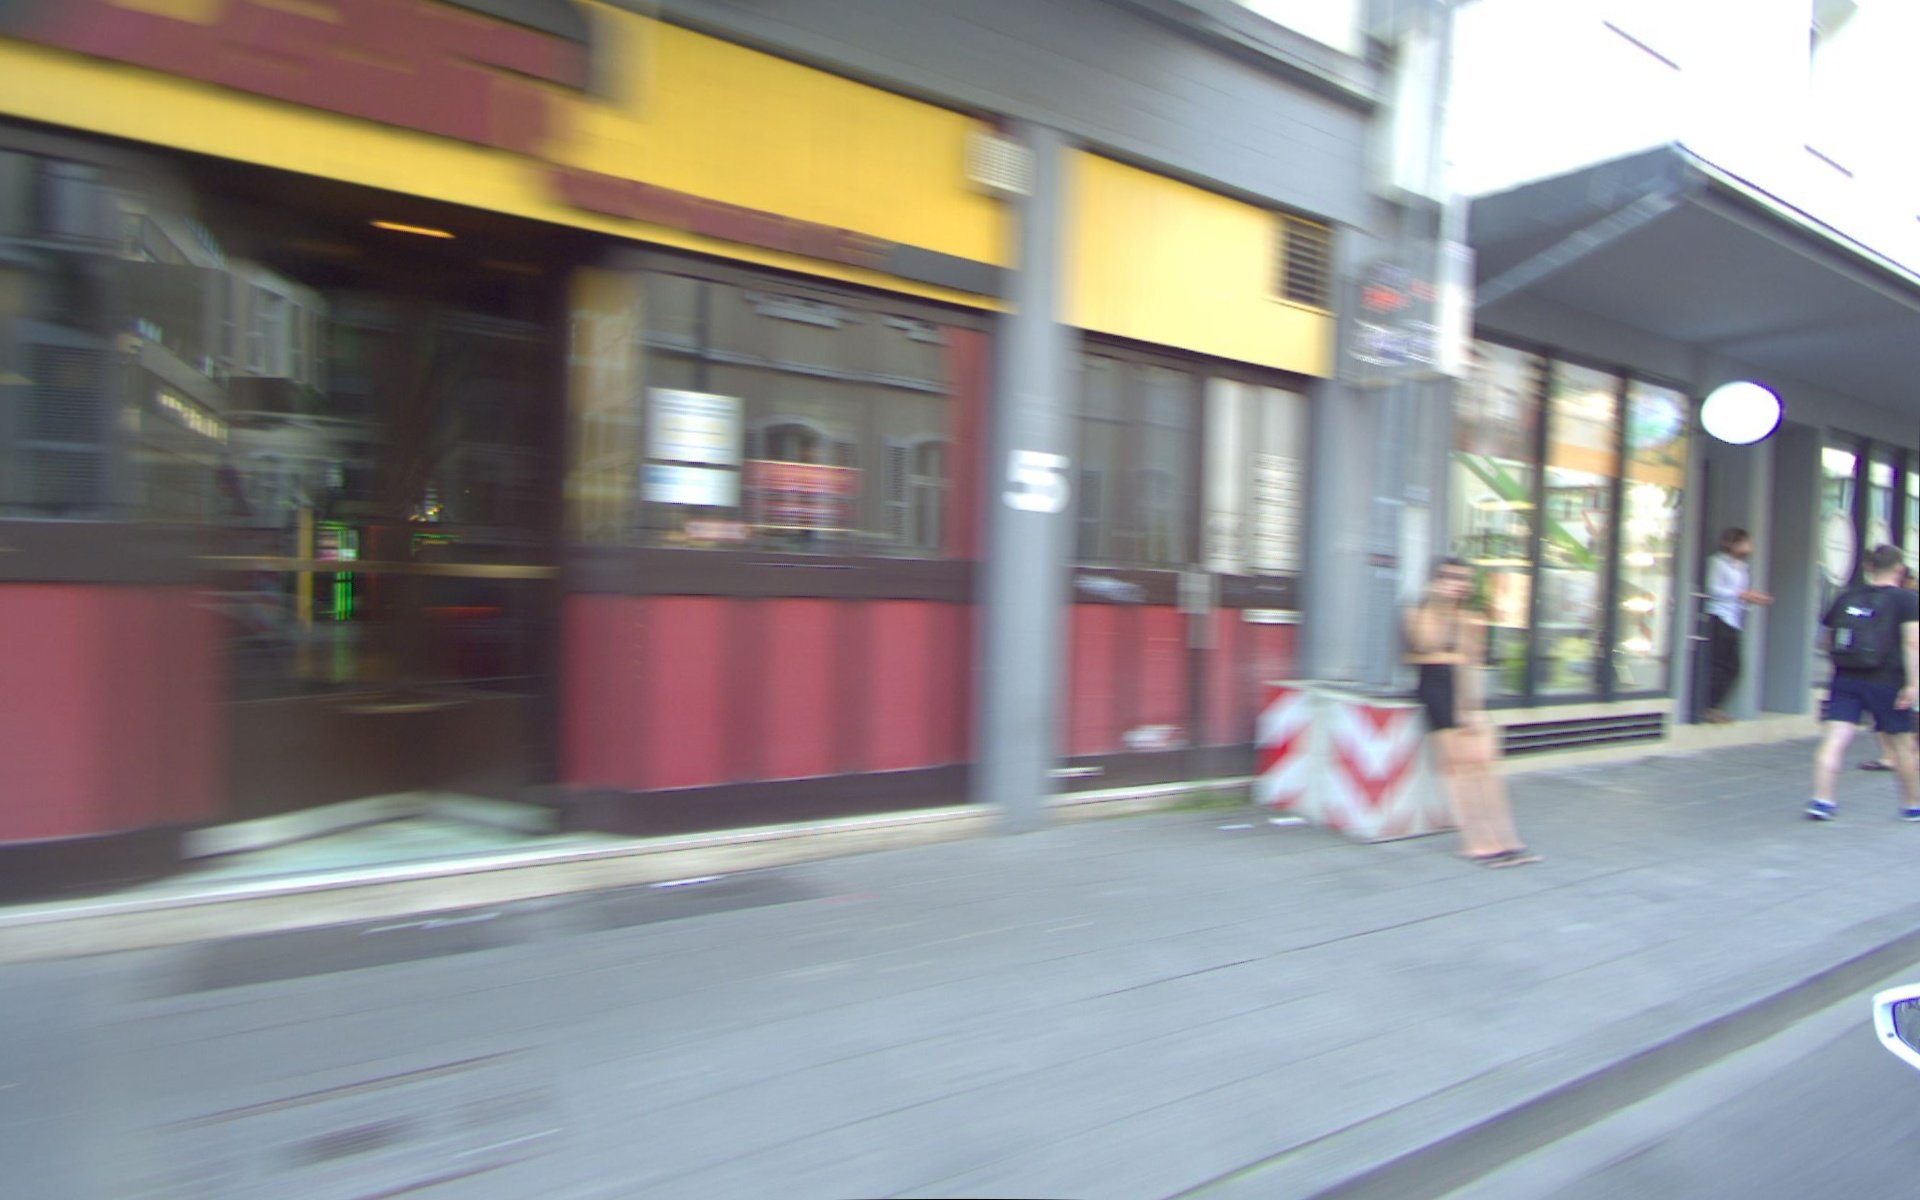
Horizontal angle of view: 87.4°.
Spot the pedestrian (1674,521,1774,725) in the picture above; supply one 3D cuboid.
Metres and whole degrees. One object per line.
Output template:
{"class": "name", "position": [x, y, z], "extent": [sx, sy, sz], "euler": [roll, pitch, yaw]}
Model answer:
{"class": "pedestrian", "position": [7.154, 0.213, 9.412], "extent": [0.606, 1.835, 0.541], "euler": [1, 0, -31]}

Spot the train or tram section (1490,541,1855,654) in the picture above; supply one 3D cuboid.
{"class": "train or tram section", "position": [25.864, -0.148, 37.440], "extent": [2.979, 3.570, 10.754], "euler": [2, 0, -31]}

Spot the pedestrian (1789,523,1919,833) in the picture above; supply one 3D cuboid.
{"class": "pedestrian", "position": [5.946, 0.469, 6.421], "extent": [0.922, 1.835, 0.711], "euler": [1, 0, -31]}

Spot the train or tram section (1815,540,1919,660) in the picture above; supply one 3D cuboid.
{"class": "train or tram section", "position": [31.217, 0.103, 28.373], "extent": [2.983, 3.570, 10.314], "euler": [2, 0, -31]}

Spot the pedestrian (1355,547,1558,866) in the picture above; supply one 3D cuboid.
{"class": "pedestrian", "position": [2.699, 0.528, 5.489], "extent": [0.607, 1.599, 0.704], "euler": [1, 3, -34]}

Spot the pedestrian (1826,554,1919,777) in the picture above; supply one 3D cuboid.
{"class": "pedestrian", "position": [8.080, 0.532, 8.590], "extent": [0.922, 1.806, 0.700], "euler": [1, 2, -31]}
